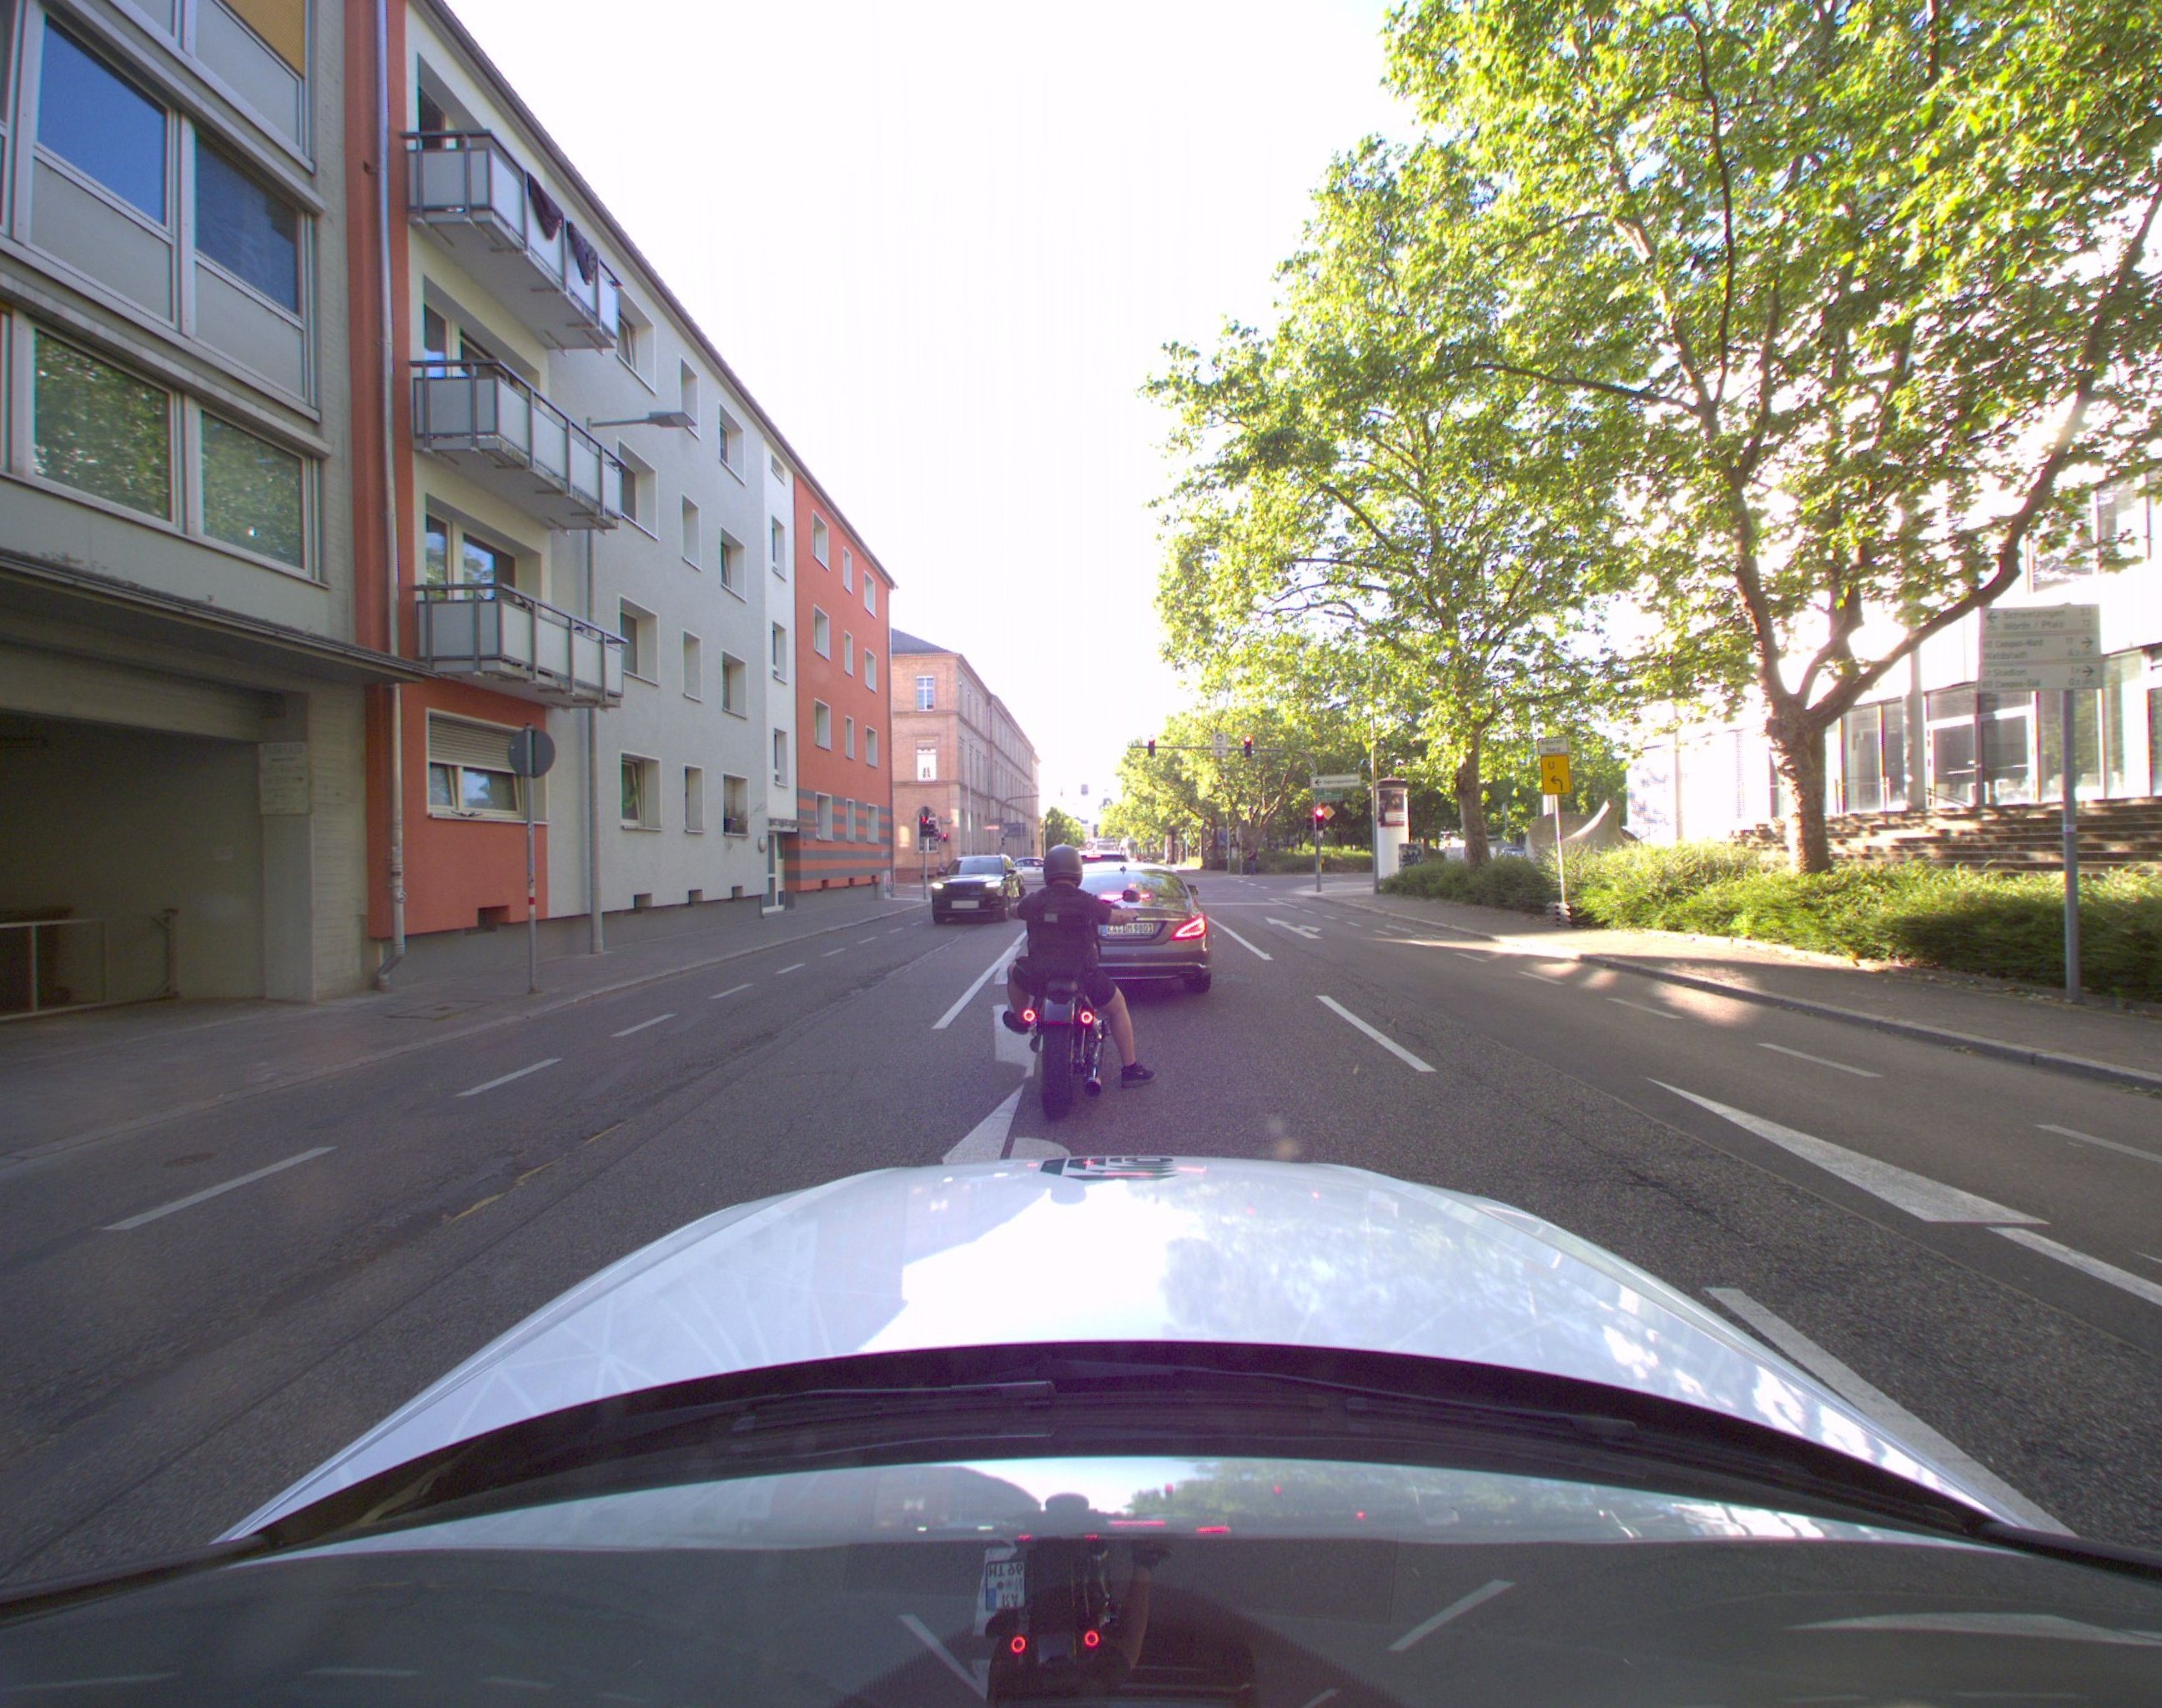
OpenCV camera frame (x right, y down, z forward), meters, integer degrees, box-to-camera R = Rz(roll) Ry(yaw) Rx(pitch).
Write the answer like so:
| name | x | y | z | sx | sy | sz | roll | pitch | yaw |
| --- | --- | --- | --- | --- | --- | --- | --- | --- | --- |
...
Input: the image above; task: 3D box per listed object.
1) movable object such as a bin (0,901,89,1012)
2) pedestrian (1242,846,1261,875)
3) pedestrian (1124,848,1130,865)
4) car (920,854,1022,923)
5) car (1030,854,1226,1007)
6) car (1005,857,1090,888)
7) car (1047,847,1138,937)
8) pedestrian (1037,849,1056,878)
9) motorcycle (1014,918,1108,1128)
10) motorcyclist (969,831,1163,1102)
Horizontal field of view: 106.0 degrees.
| name | x | y | z | sx | sy | sz | roll | pitch | yaw |
| --- | --- | --- | --- | --- | --- | --- | --- | --- | --- |
| movable object such as a bin | -11.258 | 1.065 | 8.649 | 0.626 | 1.100 | 0.659 | 0 | -1 | 4 |
| pedestrian | 11.244 | 0.426 | 53.755 | 0.914 | 1.910 | 0.756 | -1 | -1 | 42 |
| pedestrian | 5.714 | 0.279 | 100.884 | 0.761 | 2.051 | 0.712 | 0 | -1 | 1 |
| car | -2.676 | 0.800 | 20.805 | 1.843 | 1.570 | 4.387 | 0 | -1 | 2 |
| car | 0.516 | 0.740 | 9.744 | 1.875 | 1.449 | 3.821 | 0 | 0 | 2 |
| car | -1.787 | 0.943 | 43.032 | 4.137 | 1.575 | 1.845 | 0 | -1 | -21 |
| car | 0.275 | 0.694 | 16.873 | 1.615 | 1.594 | 4.002 | -1 | 0 | 2 |
| pedestrian | -2.204 | 0.601 | 51.964 | 0.996 | 1.826 | 1.078 | 0 | -1 | 8 |
| motorcycle | -0.078 | 1.005 | 5.461 | 0.511 | 1.002 | 2.014 | 0 | -1 | 2 |
| motorcyclist | -0.072 | 0.673 | 5.480 | 1.145 | 1.598 | 1.288 | 0 | -1 | 1 |
